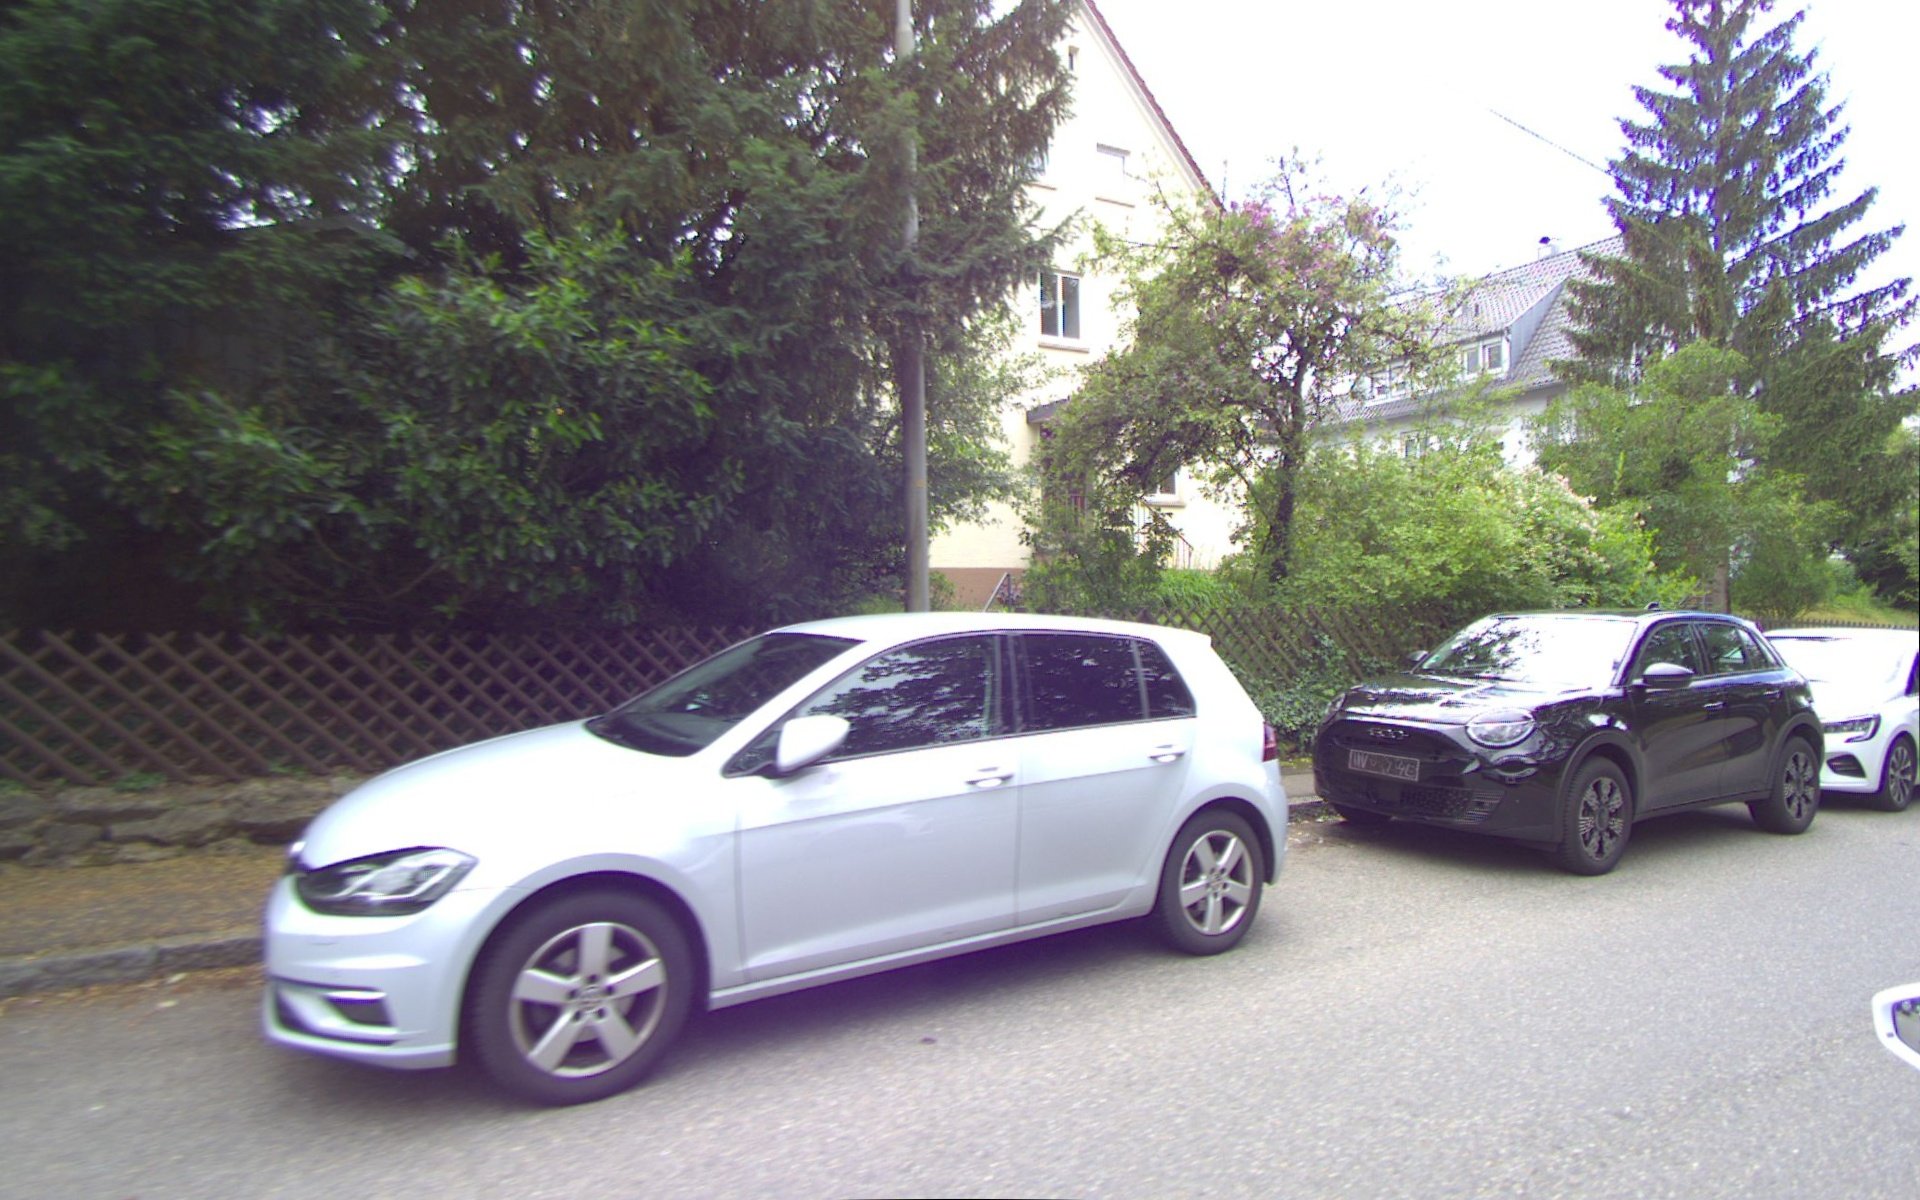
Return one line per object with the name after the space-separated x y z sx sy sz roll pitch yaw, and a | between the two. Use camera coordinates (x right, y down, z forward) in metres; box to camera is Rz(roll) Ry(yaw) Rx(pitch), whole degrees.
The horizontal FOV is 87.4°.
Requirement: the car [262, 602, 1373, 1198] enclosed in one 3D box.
-0.342 0.769 4.361 4.274 1.458 1.774 1 0 -31 | car

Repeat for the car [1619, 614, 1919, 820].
8.128 0.924 9.318 3.967 1.520 1.775 1 0 -30 | car

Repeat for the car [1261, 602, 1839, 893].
4.202 0.808 7.047 3.967 1.520 1.775 1 0 -30 | car
